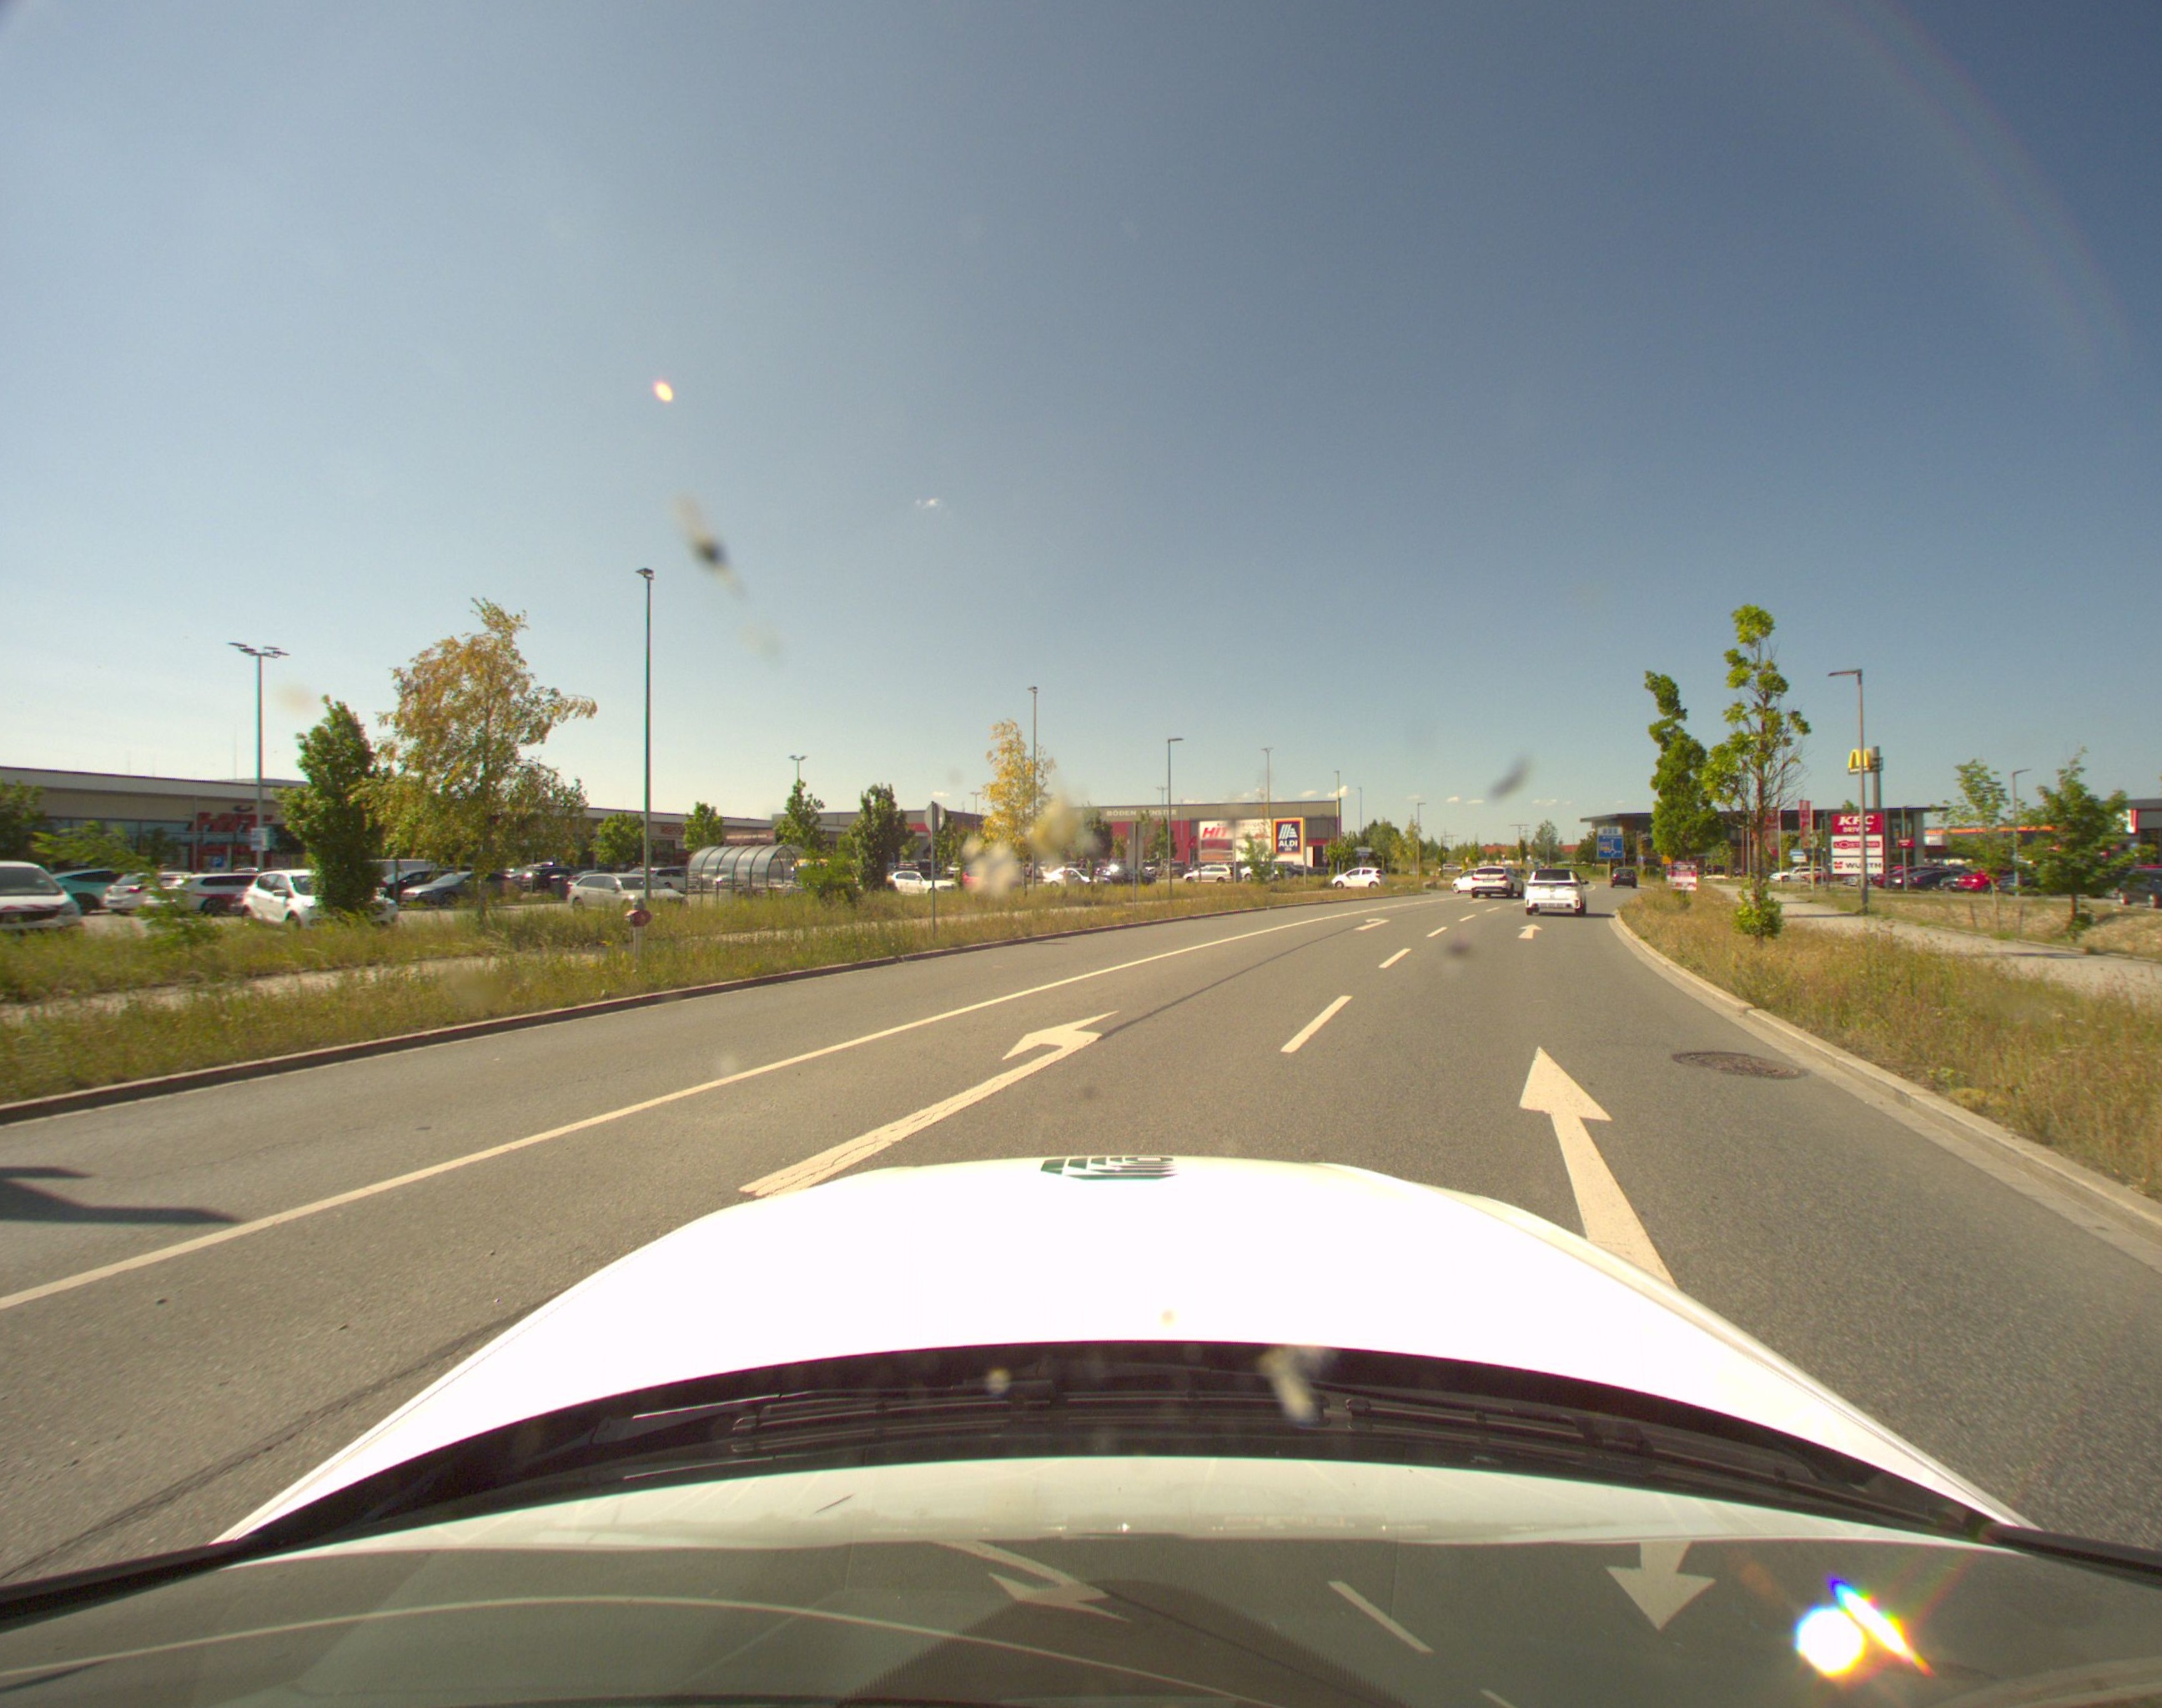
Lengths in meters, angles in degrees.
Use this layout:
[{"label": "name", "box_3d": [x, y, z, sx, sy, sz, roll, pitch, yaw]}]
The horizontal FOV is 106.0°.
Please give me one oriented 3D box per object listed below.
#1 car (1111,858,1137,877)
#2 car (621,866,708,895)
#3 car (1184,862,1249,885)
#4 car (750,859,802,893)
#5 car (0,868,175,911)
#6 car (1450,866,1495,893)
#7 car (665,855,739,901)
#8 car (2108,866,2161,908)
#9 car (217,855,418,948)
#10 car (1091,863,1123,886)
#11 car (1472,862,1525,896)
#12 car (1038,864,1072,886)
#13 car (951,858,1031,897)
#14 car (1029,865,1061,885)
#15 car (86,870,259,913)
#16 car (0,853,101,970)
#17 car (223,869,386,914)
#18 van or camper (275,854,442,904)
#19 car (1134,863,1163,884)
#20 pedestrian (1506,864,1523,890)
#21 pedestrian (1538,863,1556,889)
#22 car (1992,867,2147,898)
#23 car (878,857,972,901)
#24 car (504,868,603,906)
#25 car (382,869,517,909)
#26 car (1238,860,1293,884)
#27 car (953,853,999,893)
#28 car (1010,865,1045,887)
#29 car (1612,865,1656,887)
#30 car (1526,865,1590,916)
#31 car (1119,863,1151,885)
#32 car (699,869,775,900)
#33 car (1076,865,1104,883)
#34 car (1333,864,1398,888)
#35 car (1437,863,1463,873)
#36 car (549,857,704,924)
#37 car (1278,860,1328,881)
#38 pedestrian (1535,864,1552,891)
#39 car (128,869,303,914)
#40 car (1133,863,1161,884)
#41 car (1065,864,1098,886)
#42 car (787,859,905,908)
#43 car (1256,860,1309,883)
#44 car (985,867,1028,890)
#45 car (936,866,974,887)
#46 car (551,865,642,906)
[{"label": "car", "box_3d": [5.112, 1.582, 95.554, 1.978, 2.038, 4.504, -1, -1, 16]}, {"label": "car", "box_3d": [-22.903, 1.441, 45.013, 1.637, 1.520, 4.370, -1, -1, 18]}, {"label": "car", "box_3d": [10.257, 1.504, 61.899, 4.426, 1.715, 2.013, -2, -1, 35]}, {"label": "car", "box_3d": [-26.826, 1.927, 71.819, 1.978, 2.822, 4.504, -1, -1, 16]}, {"label": "car", "box_3d": [-35.433, 1.212, 29.064, 1.714, 1.391, 3.745, -1, 0, 13]}, {"label": "car", "box_3d": [23.479, 1.498, 48.961, 1.723, 1.551, 3.798, -1, -1, 15]}, {"label": "car", "box_3d": [-24.027, 1.496, 51.855, 1.981, 2.822, 4.497, -1, -1, 11]}, {"label": "car", "box_3d": [40.040, 1.185, 29.907, 1.854, 1.465, 4.391, -1, -1, 38]}, {"label": "car", "box_3d": [-18.697, 1.073, 19.904, 5.050, 2.014, 2.178, -1, -1, 30]}, {"label": "car", "box_3d": [2.508, 1.946, 78.000, 1.978, 2.038, 4.504, -1, -1, 16]}, {"label": "car", "box_3d": [20.300, 1.160, 39.508, 1.719, 1.551, 4.599, -2, -1, 34]}, {"label": "car", "box_3d": [-2.534, 2.059, 79.497, 1.978, 2.038, 4.504, -1, -1, 16]}, {"label": "car", "box_3d": [-4.876, 1.244, 43.973, 4.085, 2.014, 1.895, -1, -1, 35]}, {"label": "car", "box_3d": [-3.728, 2.194, 85.448, 1.978, 2.038, 4.504, -1, -1, 16]}, {"label": "car", "box_3d": [-32.392, 1.305, 29.182, 1.714, 1.391, 3.745, -1, 0, 13]}, {"label": "car", "box_3d": [-20.904, 1.015, 15.120, 5.165, 2.014, 2.099, -1, -1, 24]}, {"label": "car", "box_3d": [-26.810, 1.252, 28.287, 1.714, 1.391, 3.745, -1, 0, 13]}, {"label": "van or camper", "box_3d": [-31.032, 1.020, 35.213, 1.977, 2.014, 5.075, -1, 0, 18]}, {"label": "car", "box_3d": [6.905, 1.968, 83.003, 1.978, 2.038, 4.504, -1, -1, 16]}, {"label": "pedestrian", "box_3d": [27.948, 1.503, 52.535, 0.713, 1.664, 0.660, 0, -1, -28]}, {"label": "pedestrian", "box_3d": [29.923, 1.420, 52.303, 0.713, 1.664, 0.660, 0, -1, -28]}, {"label": "car", "box_3d": [48.971, 1.386, 40.503, 4.475, 1.459, 2.012, -1, -1, 31]}, {"label": "car", "box_3d": [-7.661, 1.207, 39.894, 4.353, 2.014, 1.956, -1, -1, 33]}, {"label": "car", "box_3d": [-30.571, 1.879, 47.357, 1.977, 2.103, 4.507, -1, -1, 20]}, {"label": "car", "box_3d": [-25.911, 1.416, 33.586, 1.854, 1.508, 4.018, -1, -1, 18]}, {"label": "car", "box_3d": [16.401, 1.606, 72.433, 4.428, 2.038, 2.012, -2, -1, 28]}, {"label": "car", "box_3d": [-7.662, 1.374, 59.811, 1.981, 2.822, 4.497, -1, -1, 11]}, {"label": "car", "box_3d": [-5.249, 2.115, 80.044, 1.978, 2.038, 4.504, -1, -1, 16]}, {"label": "car", "box_3d": [42.449, 1.666, 62.479, 3.865, 1.550, 1.975, 0, -1, -44]}, {"label": "car", "box_3d": [15.100, 1.094, 25.713, 1.460, 1.490, 3.020, 0, -1, 36]}, {"label": "car", "box_3d": [5.168, 1.885, 77.151, 1.978, 2.038, 4.504, -1, -1, 16]}, {"label": "car", "box_3d": [-21.401, 1.864, 50.870, 1.978, 1.863, 4.504, -1, -1, 16]}, {"label": "car", "box_3d": [1.047, 2.261, 93.124, 1.978, 2.038, 4.504, -1, -1, 16]}, {"label": "car", "box_3d": [19.164, 1.487, 54.924, 3.734, 1.551, 1.752, -2, -2, 36]}, {"label": "car", "box_3d": [68.737, 2.649, 151.910, 3.986, 1.728, 1.994, 0, -1, -9]}, {"label": "car", "box_3d": [-15.059, 1.147, 26.905, 5.050, 2.014, 2.178, -1, -1, 30]}, {"label": "car", "box_3d": [22.205, 1.681, 81.396, 4.428, 2.038, 2.012, -2, -1, 28]}, {"label": "pedestrian", "box_3d": [29.368, 1.490, 51.718, 0.713, 1.664, 0.660, 0, -1, -28]}, {"label": "car", "box_3d": [-29.614, 1.255, 28.024, 1.714, 1.391, 3.745, -1, 0, 13]}, {"label": "car", "box_3d": [6.777, 1.971, 83.023, 1.978, 2.038, 4.504, -1, -1, 16]}, {"label": "car", "box_3d": [0.078, 2.009, 79.173, 1.978, 2.038, 4.504, -1, -1, 16]}, {"label": "car", "box_3d": [-10.275, 1.232, 35.510, 5.049, 2.014, 2.178, -1, -1, 33]}, {"label": "car", "box_3d": [18.970, 1.646, 76.775, 4.428, 2.038, 2.012, -2, -1, 28]}, {"label": "car", "box_3d": [-5.993, 1.982, 65.856, 1.978, 1.784, 4.334, -1, -1, 16]}, {"label": "car", "box_3d": [-12.597, 2.270, 81.665, 1.978, 2.038, 4.504, -1, -1, 16]}, {"label": "car", "box_3d": [-27.602, 1.769, 46.555, 1.981, 2.192, 4.497, -1, -1, 11]}]
